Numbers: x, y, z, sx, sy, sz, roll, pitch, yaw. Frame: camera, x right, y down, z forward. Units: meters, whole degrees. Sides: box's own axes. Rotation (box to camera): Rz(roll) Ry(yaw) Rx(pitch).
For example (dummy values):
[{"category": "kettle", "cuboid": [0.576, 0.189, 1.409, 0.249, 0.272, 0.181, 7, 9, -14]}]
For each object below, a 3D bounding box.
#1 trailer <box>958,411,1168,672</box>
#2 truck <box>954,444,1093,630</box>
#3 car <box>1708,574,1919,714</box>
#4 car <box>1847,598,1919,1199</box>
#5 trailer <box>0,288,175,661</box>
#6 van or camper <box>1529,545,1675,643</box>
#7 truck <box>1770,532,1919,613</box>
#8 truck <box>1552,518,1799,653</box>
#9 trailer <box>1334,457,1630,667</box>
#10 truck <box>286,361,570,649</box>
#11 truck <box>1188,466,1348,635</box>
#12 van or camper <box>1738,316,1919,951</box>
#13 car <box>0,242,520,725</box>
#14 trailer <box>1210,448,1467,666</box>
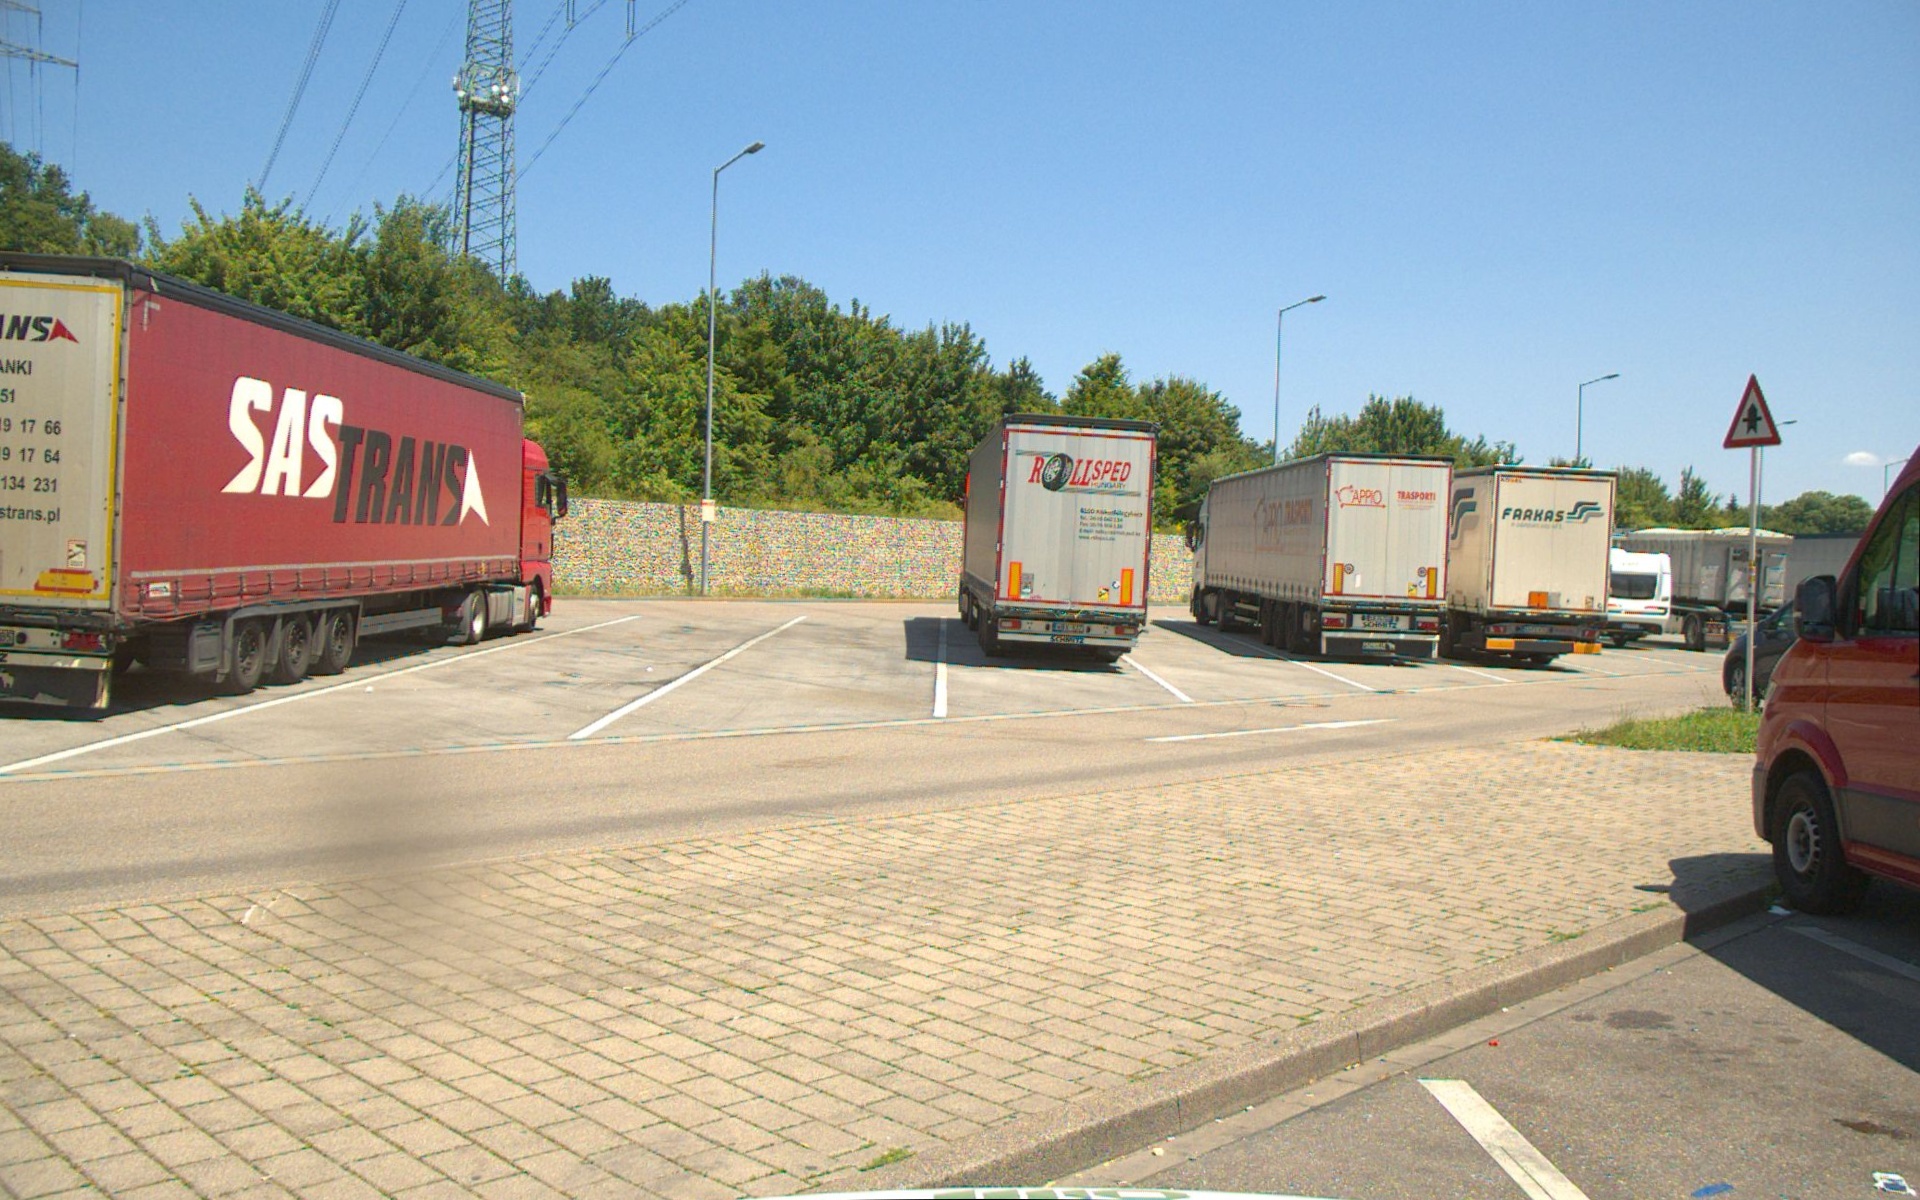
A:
[{"category": "trailer", "cuboid": [1.650, -1.239, 33.668, 2.809, 4.107, 14.238, 2, 2, -2]}, {"category": "truck", "cuboid": [1.419, -1.566, 40.749, 2.809, 4.107, 7.026, 2, 2, -2]}, {"category": "car", "cuboid": [11.265, 0.486, 21.046, 1.803, 1.589, 3.951, 1, 1, 2]}, {"category": "car", "cuboid": [2.536, 0.800, 1.111, 1.584, 1.509, 3.762, 1, 1, -6]}, {"category": "trailer", "cuboid": [-12.550, -1.407, 17.160, 2.756, 4.341, 12.940, 2, 2, -1]}, {"category": "van or camper", "cuboid": [18.262, -0.218, 47.347, 2.061, 2.606, 5.372, 1, 1, 0]}, {"category": "truck", "cuboid": [34.697, -1.061, 63.636, 2.082, 2.869, 9.777, 1, 1, -1]}, {"category": "truck", "cuboid": [21.743, -0.644, 51.243, 2.437, 3.630, 11.423, 2, 2, -1]}, {"category": "trailer", "cuboid": [11.818, -1.020, 39.221, 2.808, 4.107, 12.438, 2, 2, -1]}, {"category": "truck", "cuboid": [-8.701, -1.530, 27.876, 2.641, 4.184, 6.239, 2, 2, 0]}, {"category": "truck", "cuboid": [8.162, -1.383, 44.734, 2.808, 4.107, 6.956, 2, 2, -1]}, {"category": "van or camper", "cuboid": [4.986, 0.179, 5.559, 1.954, 2.700, 6.482, 1, 1, 3]}, {"category": "car", "cuboid": [-8.680, -1.281, 20.959, 2.641, 4.184, 12.935, 2, 2, 0]}, {"category": "trailer", "cuboid": [8.241, -1.087, 38.104, 2.808, 4.107, 12.438, 2, 2, -1]}]
